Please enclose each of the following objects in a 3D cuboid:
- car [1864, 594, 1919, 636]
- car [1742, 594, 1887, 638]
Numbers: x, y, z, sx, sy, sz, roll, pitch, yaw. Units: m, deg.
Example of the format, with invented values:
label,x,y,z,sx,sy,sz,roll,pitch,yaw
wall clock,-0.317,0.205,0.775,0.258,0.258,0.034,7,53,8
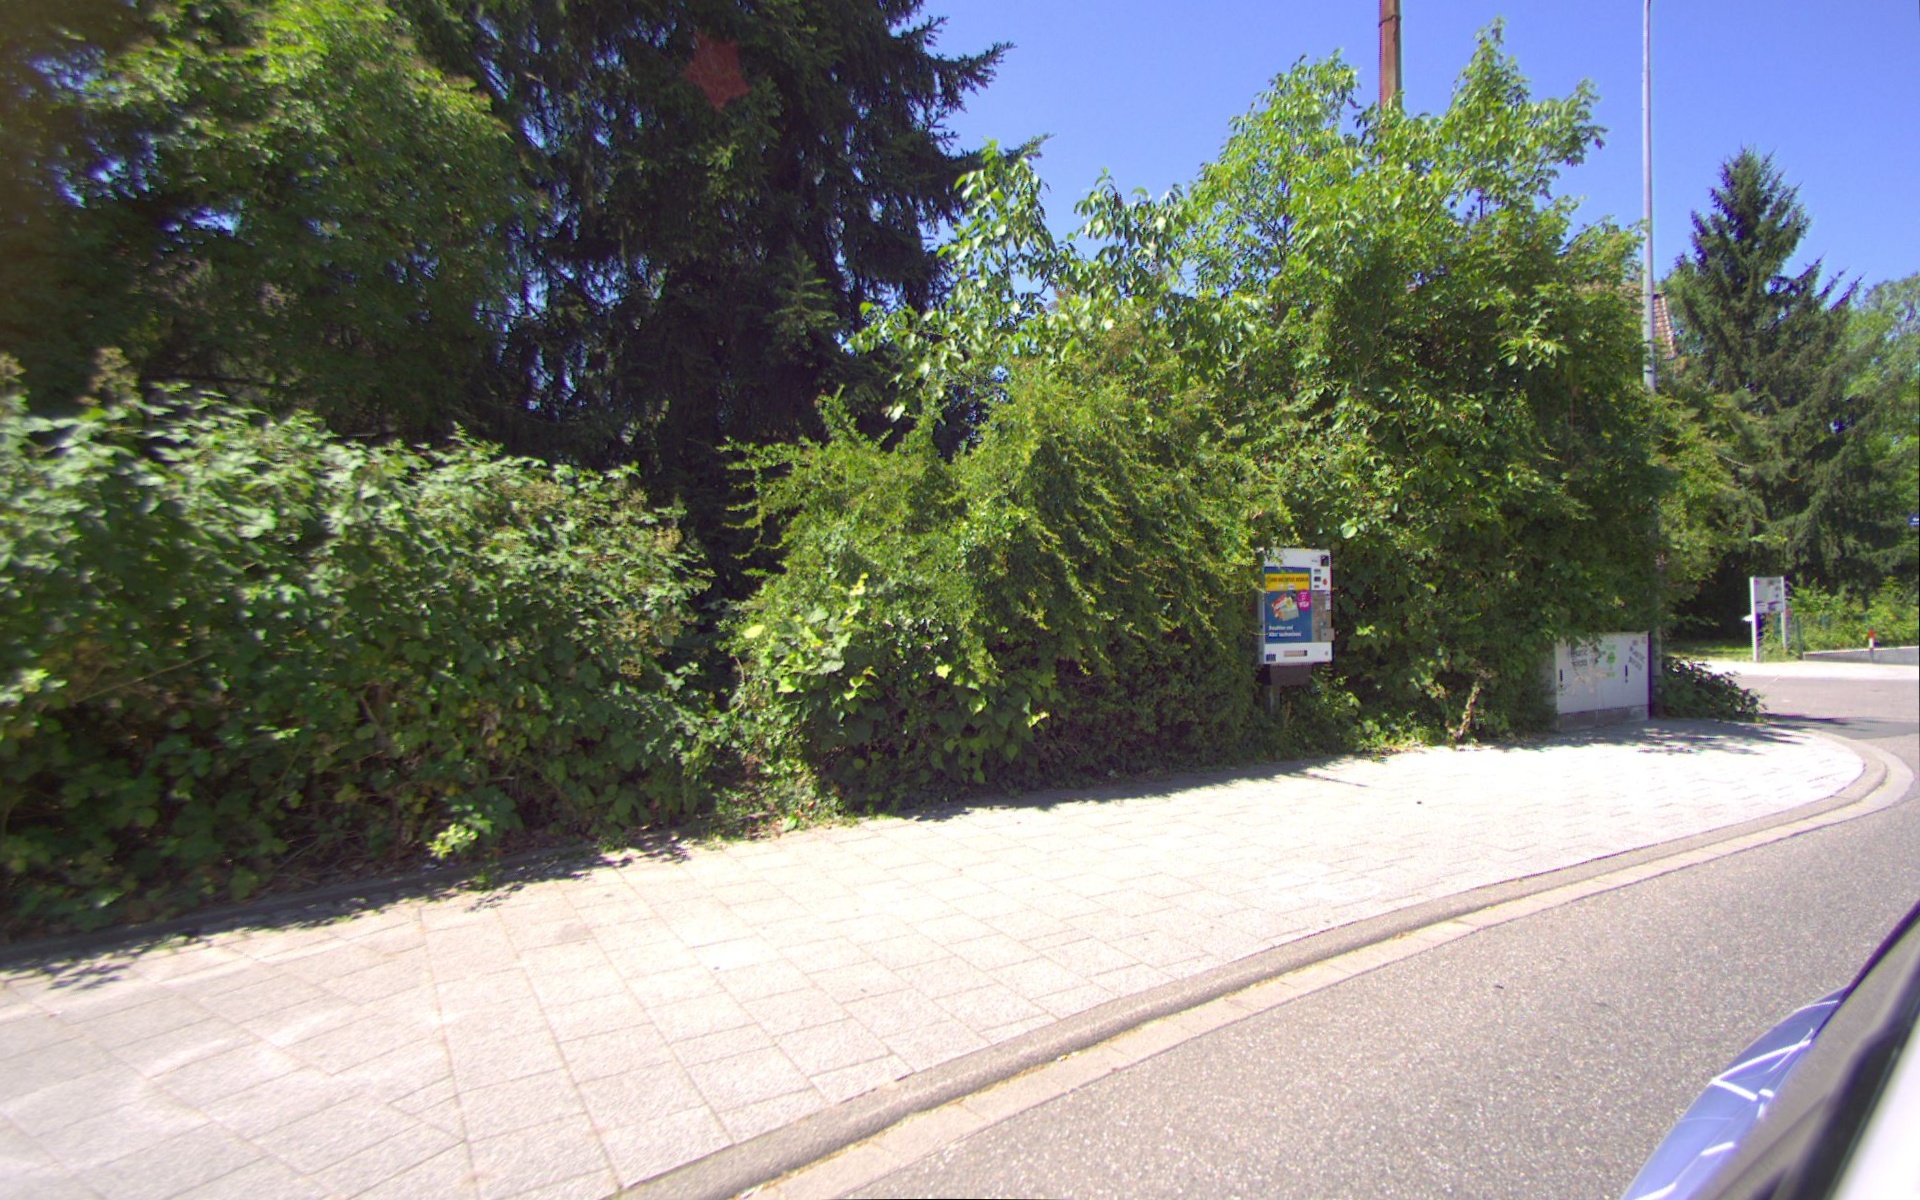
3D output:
label,x,y,z,sx,sy,sz,roll,pitch,yaw
car,36.414,0.554,37.197,4.465,1.519,1.750,0,0,32
car,31.492,0.553,37.461,3.945,1.555,1.634,0,0,36
